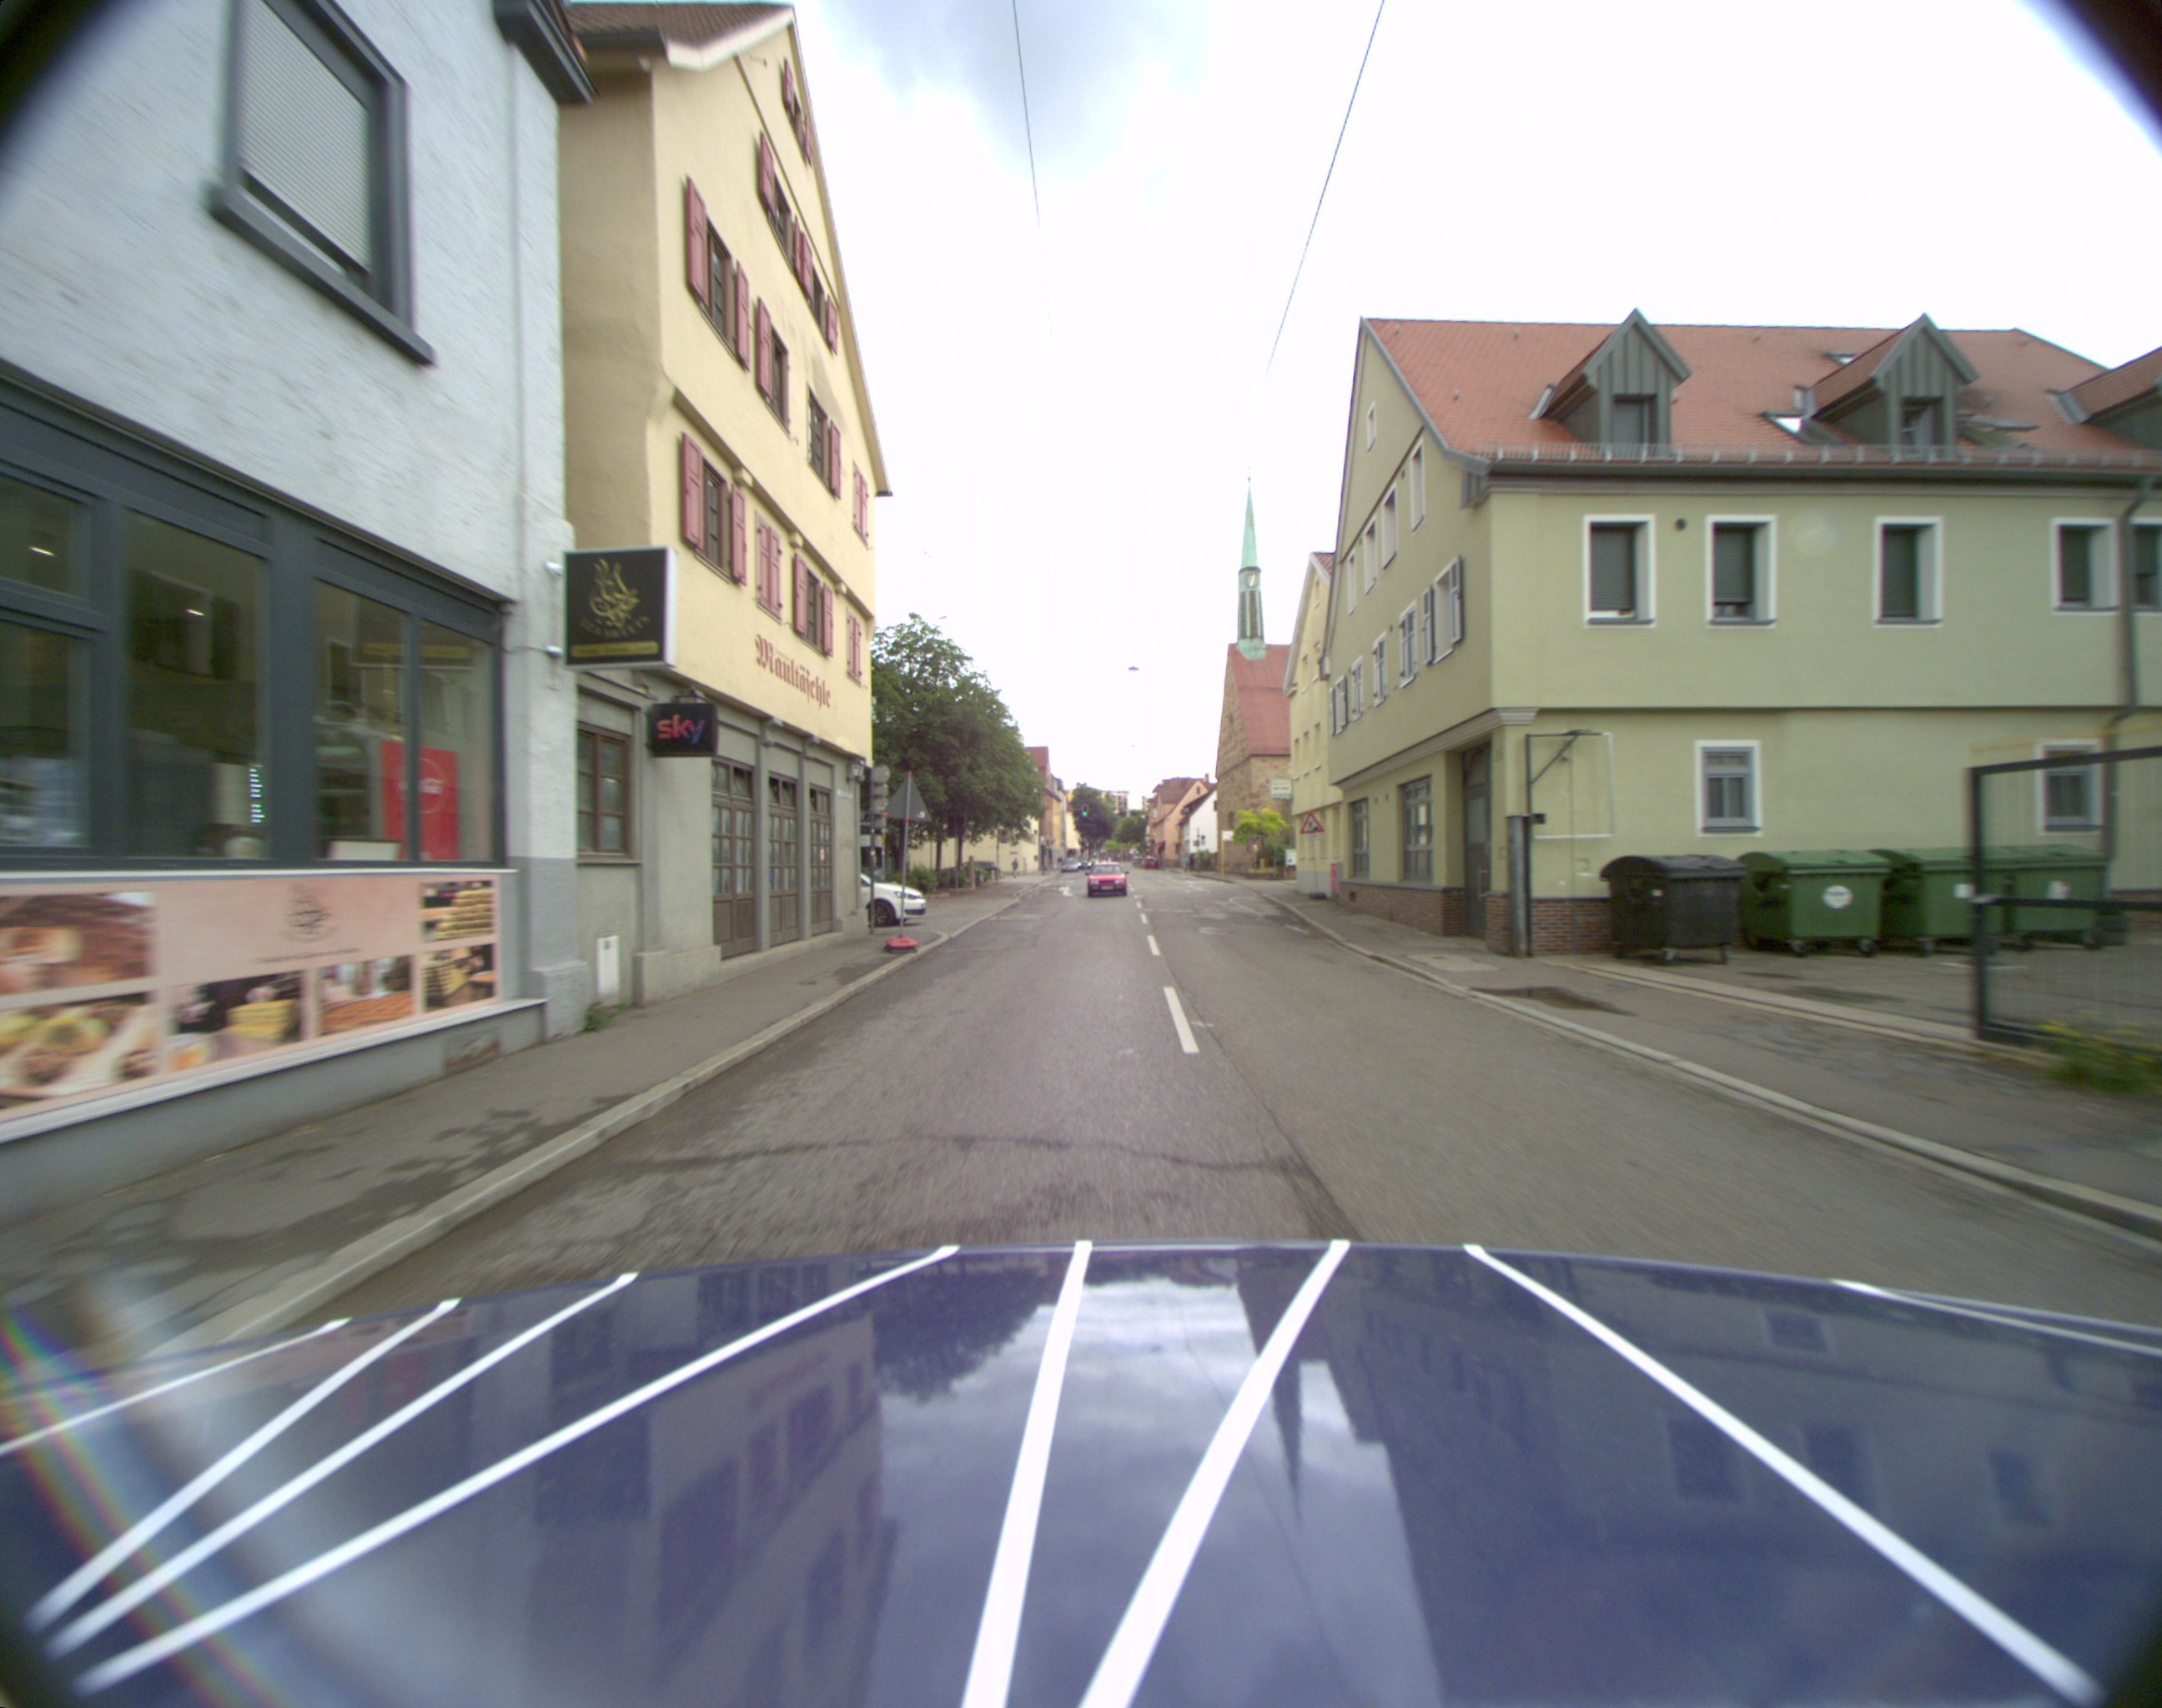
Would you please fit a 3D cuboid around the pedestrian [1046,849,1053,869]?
[{"bbox_3d":[-3.339,0.517,81.143,0.660,2.102,0.646,1,-1,2],"label":"pedestrian"}]

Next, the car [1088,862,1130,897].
[{"bbox_3d":[1.223,1.051,32.958,1.685,1.418,4.022,-1,-1,3],"label":"car"}]

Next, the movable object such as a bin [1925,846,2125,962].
[{"bbox_3d":[12.972,0.654,10.505,1.343,1.443,1.099,-1,3,0],"label":"movable object such as a bin"}]

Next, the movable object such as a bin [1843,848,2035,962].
[{"bbox_3d":[11.577,0.658,10.315,1.342,1.441,1.100,-1,0,1],"label":"movable object such as a bin"}]

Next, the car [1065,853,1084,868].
[{"bbox_3d":[-0.679,0.696,84.719,2.033,1.546,4.000,0,0,1],"label":"car"}]

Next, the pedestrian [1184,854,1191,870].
[{"bbox_3d":[10.735,0.822,76.799,0.637,1.597,0.712,0,1,2],"label":"pedestrian"}]

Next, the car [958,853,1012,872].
[{"bbox_3d":[-7.862,0.697,62.535,3.996,1.455,2.000,-2,1,4],"label":"car"}]

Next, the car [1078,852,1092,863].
[{"bbox_3d":[0.541,0.491,99.592,1.822,1.380,4.000,0,0,1],"label":"car"}]

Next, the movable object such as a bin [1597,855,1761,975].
[{"bbox_3d":[7.956,0.768,10.168,1.311,1.467,1.099,-2,0,-7],"label":"movable object such as a bin"}]

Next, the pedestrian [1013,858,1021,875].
[{"bbox_3d":[-5.359,1.046,63.922,0.599,1.435,0.772,0,1,-1],"label":"pedestrian"}]

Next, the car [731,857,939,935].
[{"bbox_3d":[-5.980,0.994,18.899,4.463,1.777,2.000,-1,1,1],"label":"car"}]

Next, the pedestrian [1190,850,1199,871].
[{"bbox_3d":[11.417,0.656,76.688,0.758,2.109,0.783,-2,0,2],"label":"pedestrian"}]

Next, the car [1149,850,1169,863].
[{"bbox_3d":[10.299,0.271,100.804,2.213,1.668,4.498,0,0,1],"label":"car"}]

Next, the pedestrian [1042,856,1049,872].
[{"bbox_3d":[-3.284,0.911,69.530,0.599,1.435,0.772,0,1,-1],"label":"pedestrian"}]

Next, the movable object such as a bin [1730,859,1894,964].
[{"bbox_3d":[10.037,0.764,10.500,1.245,1.353,1.059,-1,0,6],"label":"movable object such as a bin"}]
